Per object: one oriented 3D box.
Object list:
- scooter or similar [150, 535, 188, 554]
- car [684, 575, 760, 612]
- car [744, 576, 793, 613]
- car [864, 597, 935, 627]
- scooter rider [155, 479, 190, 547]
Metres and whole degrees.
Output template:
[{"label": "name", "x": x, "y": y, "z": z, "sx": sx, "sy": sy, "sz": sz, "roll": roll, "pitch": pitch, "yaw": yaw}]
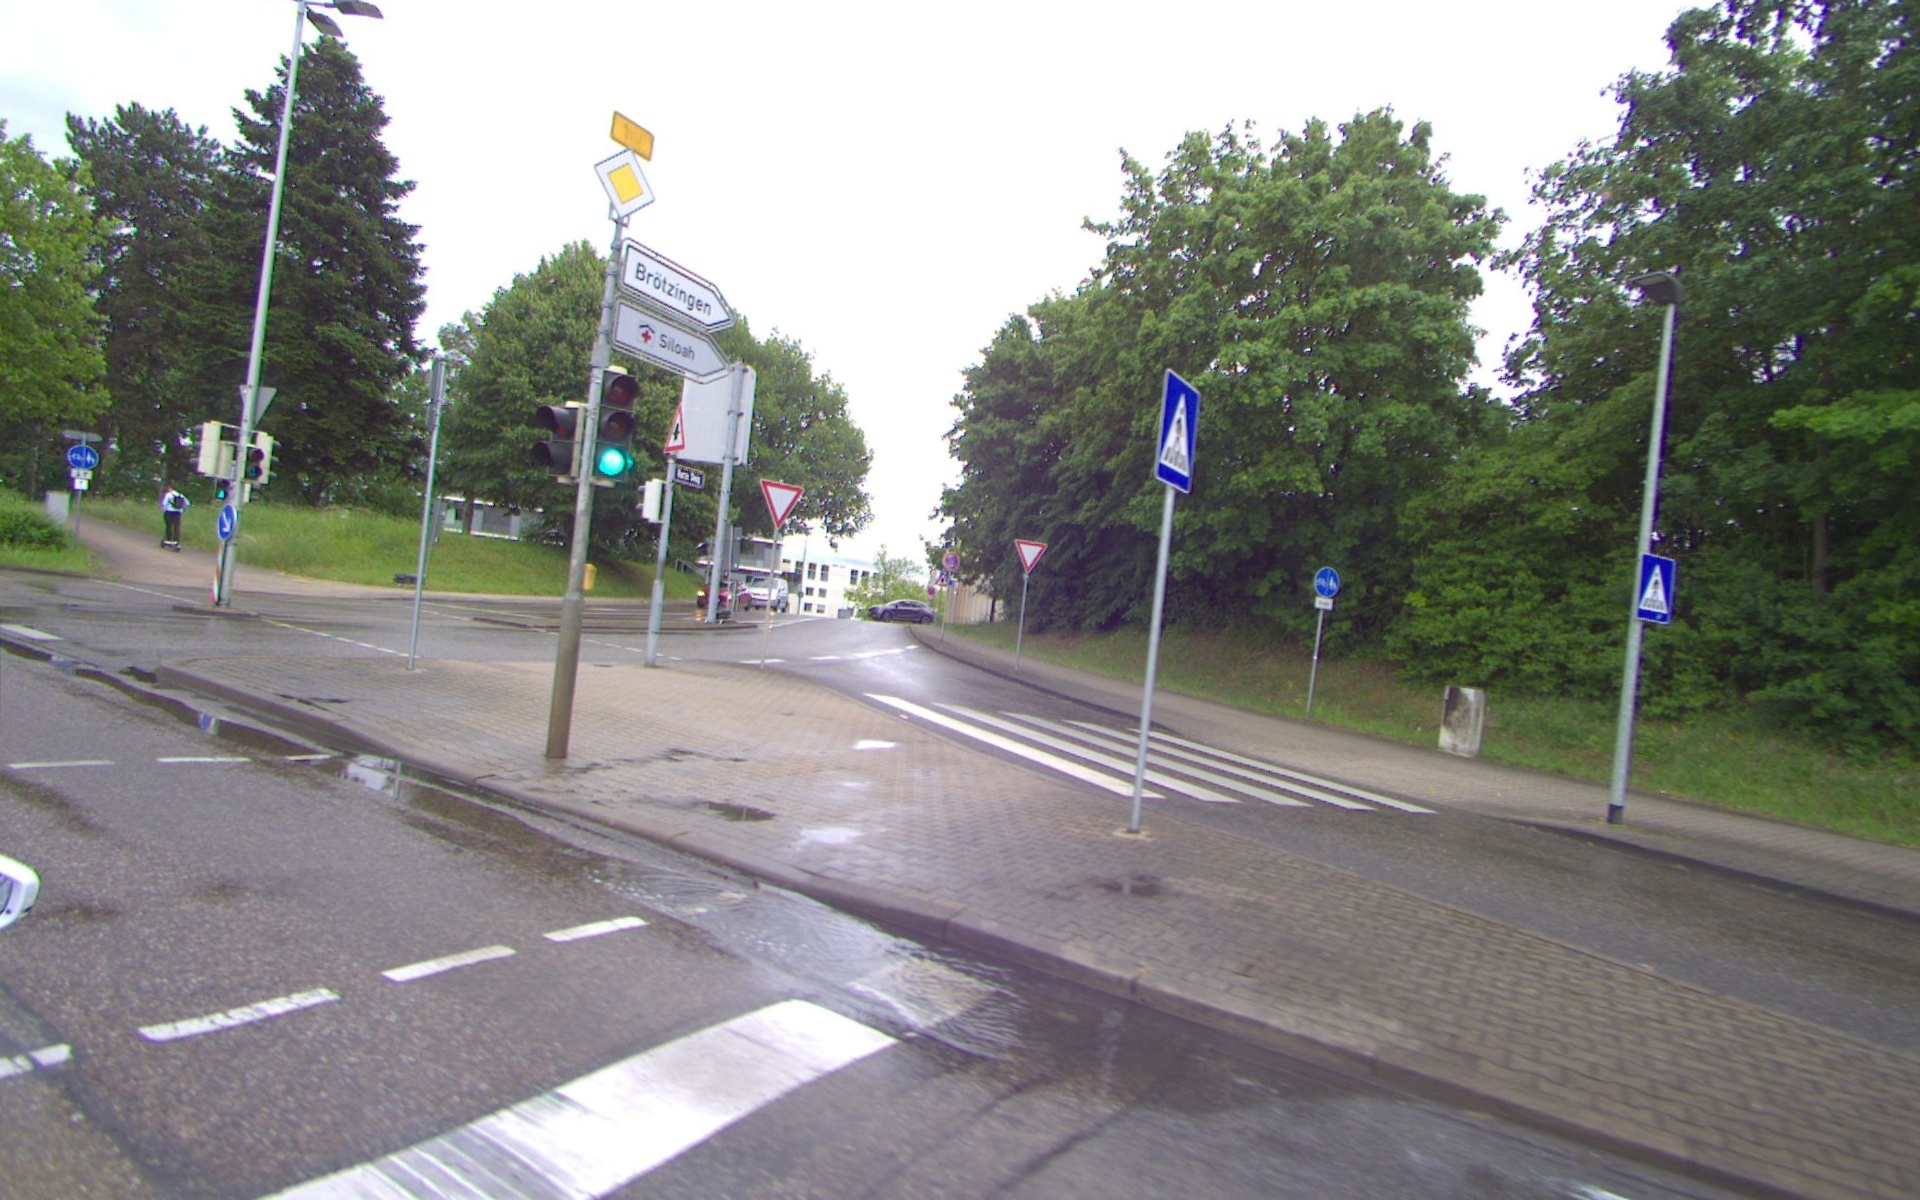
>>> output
[{"label": "scooter or similar", "x": -24.139, "y": -1.703, "z": 30.711, "sx": 1.235, "sy": 0.408, "sz": 0.487, "roll": 7, "pitch": 0, "yaw": 31}, {"label": "car", "x": -10.999, "y": -0.271, "z": 46.692, "sx": 1.817, "sy": 1.446, "sz": 4.000, "roll": 5, "pitch": 0, "yaw": 12}, {"label": "car", "x": -10.979, "y": -0.309, "z": 57.933, "sx": 1.817, "sy": 1.883, "sz": 3.999, "roll": 5, "pitch": 0, "yaw": 2}, {"label": "car", "x": -3.750, "y": 0.713, "z": 61.947, "sx": 3.940, "sy": 1.447, "sz": 1.845, "roll": 5, "pitch": 1, "yaw": -18}, {"label": "scooter rider", "x": -24.043, "y": -2.649, "z": 30.709, "sx": 0.538, "sy": 1.990, "sz": 0.501, "roll": 8, "pitch": 1, "yaw": 31}]
